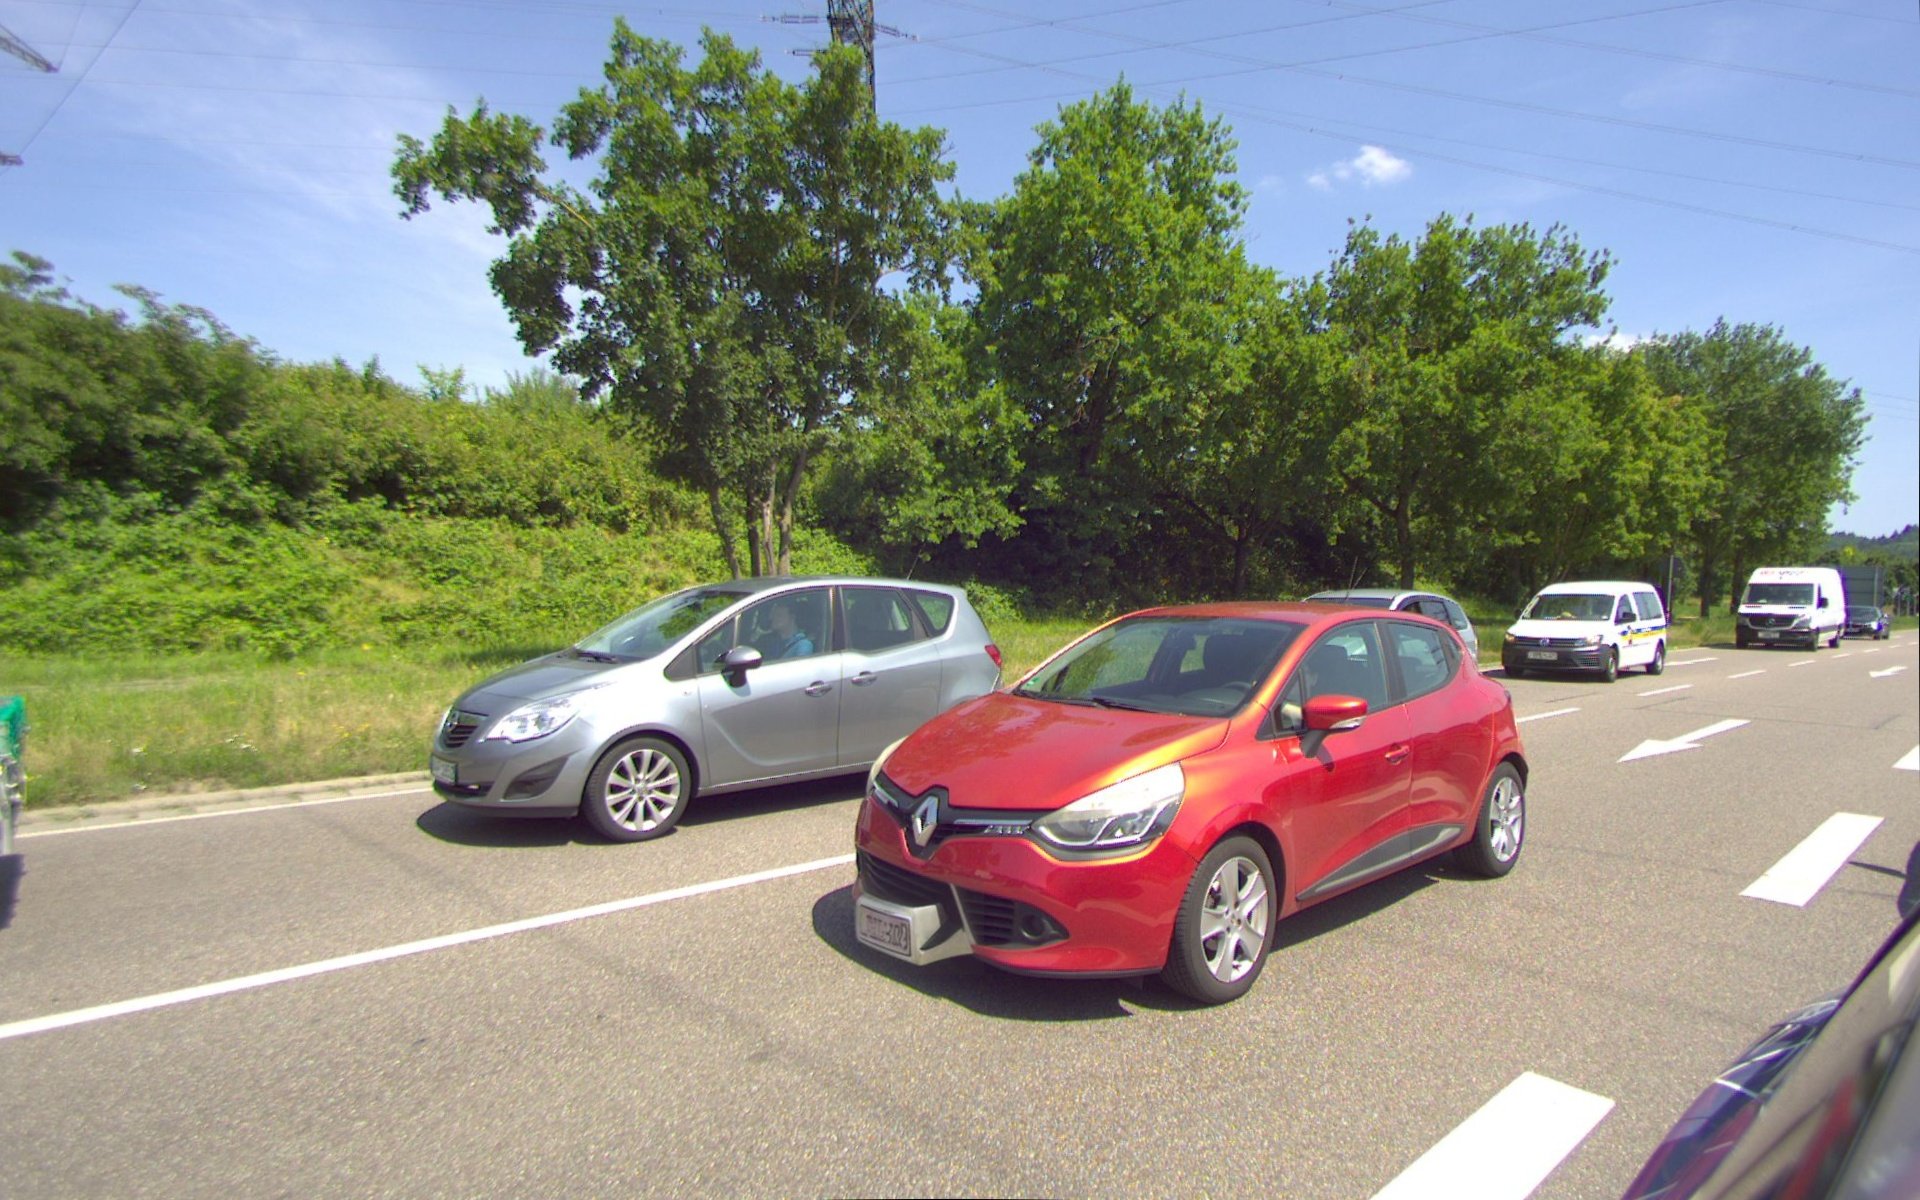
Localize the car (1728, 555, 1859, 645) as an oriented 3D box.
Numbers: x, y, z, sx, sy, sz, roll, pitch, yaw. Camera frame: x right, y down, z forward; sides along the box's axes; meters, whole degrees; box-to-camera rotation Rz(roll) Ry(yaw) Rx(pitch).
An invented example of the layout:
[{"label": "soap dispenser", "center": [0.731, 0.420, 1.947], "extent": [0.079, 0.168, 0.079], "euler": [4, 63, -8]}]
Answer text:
[{"label": "car", "center": [26.967, -0.011, 32.626], "extent": [6.897, 2.640, 2.230], "euler": [0, 0, -42]}]

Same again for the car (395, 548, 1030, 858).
[{"label": "car", "center": [-1.574, 0.517, 7.294], "extent": [4.092, 1.615, 1.768], "euler": [0, 1, -41]}]

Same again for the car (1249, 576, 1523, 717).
[{"label": "car", "center": [5.844, 0.530, 13.643], "extent": [4.197, 1.614, 1.746], "euler": [0, 0, -41]}]

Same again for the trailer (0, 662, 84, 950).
[{"label": "trailer", "center": [-5.367, 0.850, 3.685], "extent": [3.266, 1.019, 1.709], "euler": [0, 0, -41]}]

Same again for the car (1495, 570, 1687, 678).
[{"label": "car", "center": [12.208, 0.404, 19.426], "extent": [4.950, 1.823, 1.807], "euler": [0, 0, -42]}]

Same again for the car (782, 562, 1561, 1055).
[{"label": "car", "center": [1.300, 0.623, 5.026], "extent": [3.994, 1.480, 1.746], "euler": [0, 0, -41]}]

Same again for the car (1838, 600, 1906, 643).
[{"label": "car", "center": [39.526, 0.902, 43.824], "extent": [3.933, 1.705, 1.875], "euler": [-1, 1, -43]}]
